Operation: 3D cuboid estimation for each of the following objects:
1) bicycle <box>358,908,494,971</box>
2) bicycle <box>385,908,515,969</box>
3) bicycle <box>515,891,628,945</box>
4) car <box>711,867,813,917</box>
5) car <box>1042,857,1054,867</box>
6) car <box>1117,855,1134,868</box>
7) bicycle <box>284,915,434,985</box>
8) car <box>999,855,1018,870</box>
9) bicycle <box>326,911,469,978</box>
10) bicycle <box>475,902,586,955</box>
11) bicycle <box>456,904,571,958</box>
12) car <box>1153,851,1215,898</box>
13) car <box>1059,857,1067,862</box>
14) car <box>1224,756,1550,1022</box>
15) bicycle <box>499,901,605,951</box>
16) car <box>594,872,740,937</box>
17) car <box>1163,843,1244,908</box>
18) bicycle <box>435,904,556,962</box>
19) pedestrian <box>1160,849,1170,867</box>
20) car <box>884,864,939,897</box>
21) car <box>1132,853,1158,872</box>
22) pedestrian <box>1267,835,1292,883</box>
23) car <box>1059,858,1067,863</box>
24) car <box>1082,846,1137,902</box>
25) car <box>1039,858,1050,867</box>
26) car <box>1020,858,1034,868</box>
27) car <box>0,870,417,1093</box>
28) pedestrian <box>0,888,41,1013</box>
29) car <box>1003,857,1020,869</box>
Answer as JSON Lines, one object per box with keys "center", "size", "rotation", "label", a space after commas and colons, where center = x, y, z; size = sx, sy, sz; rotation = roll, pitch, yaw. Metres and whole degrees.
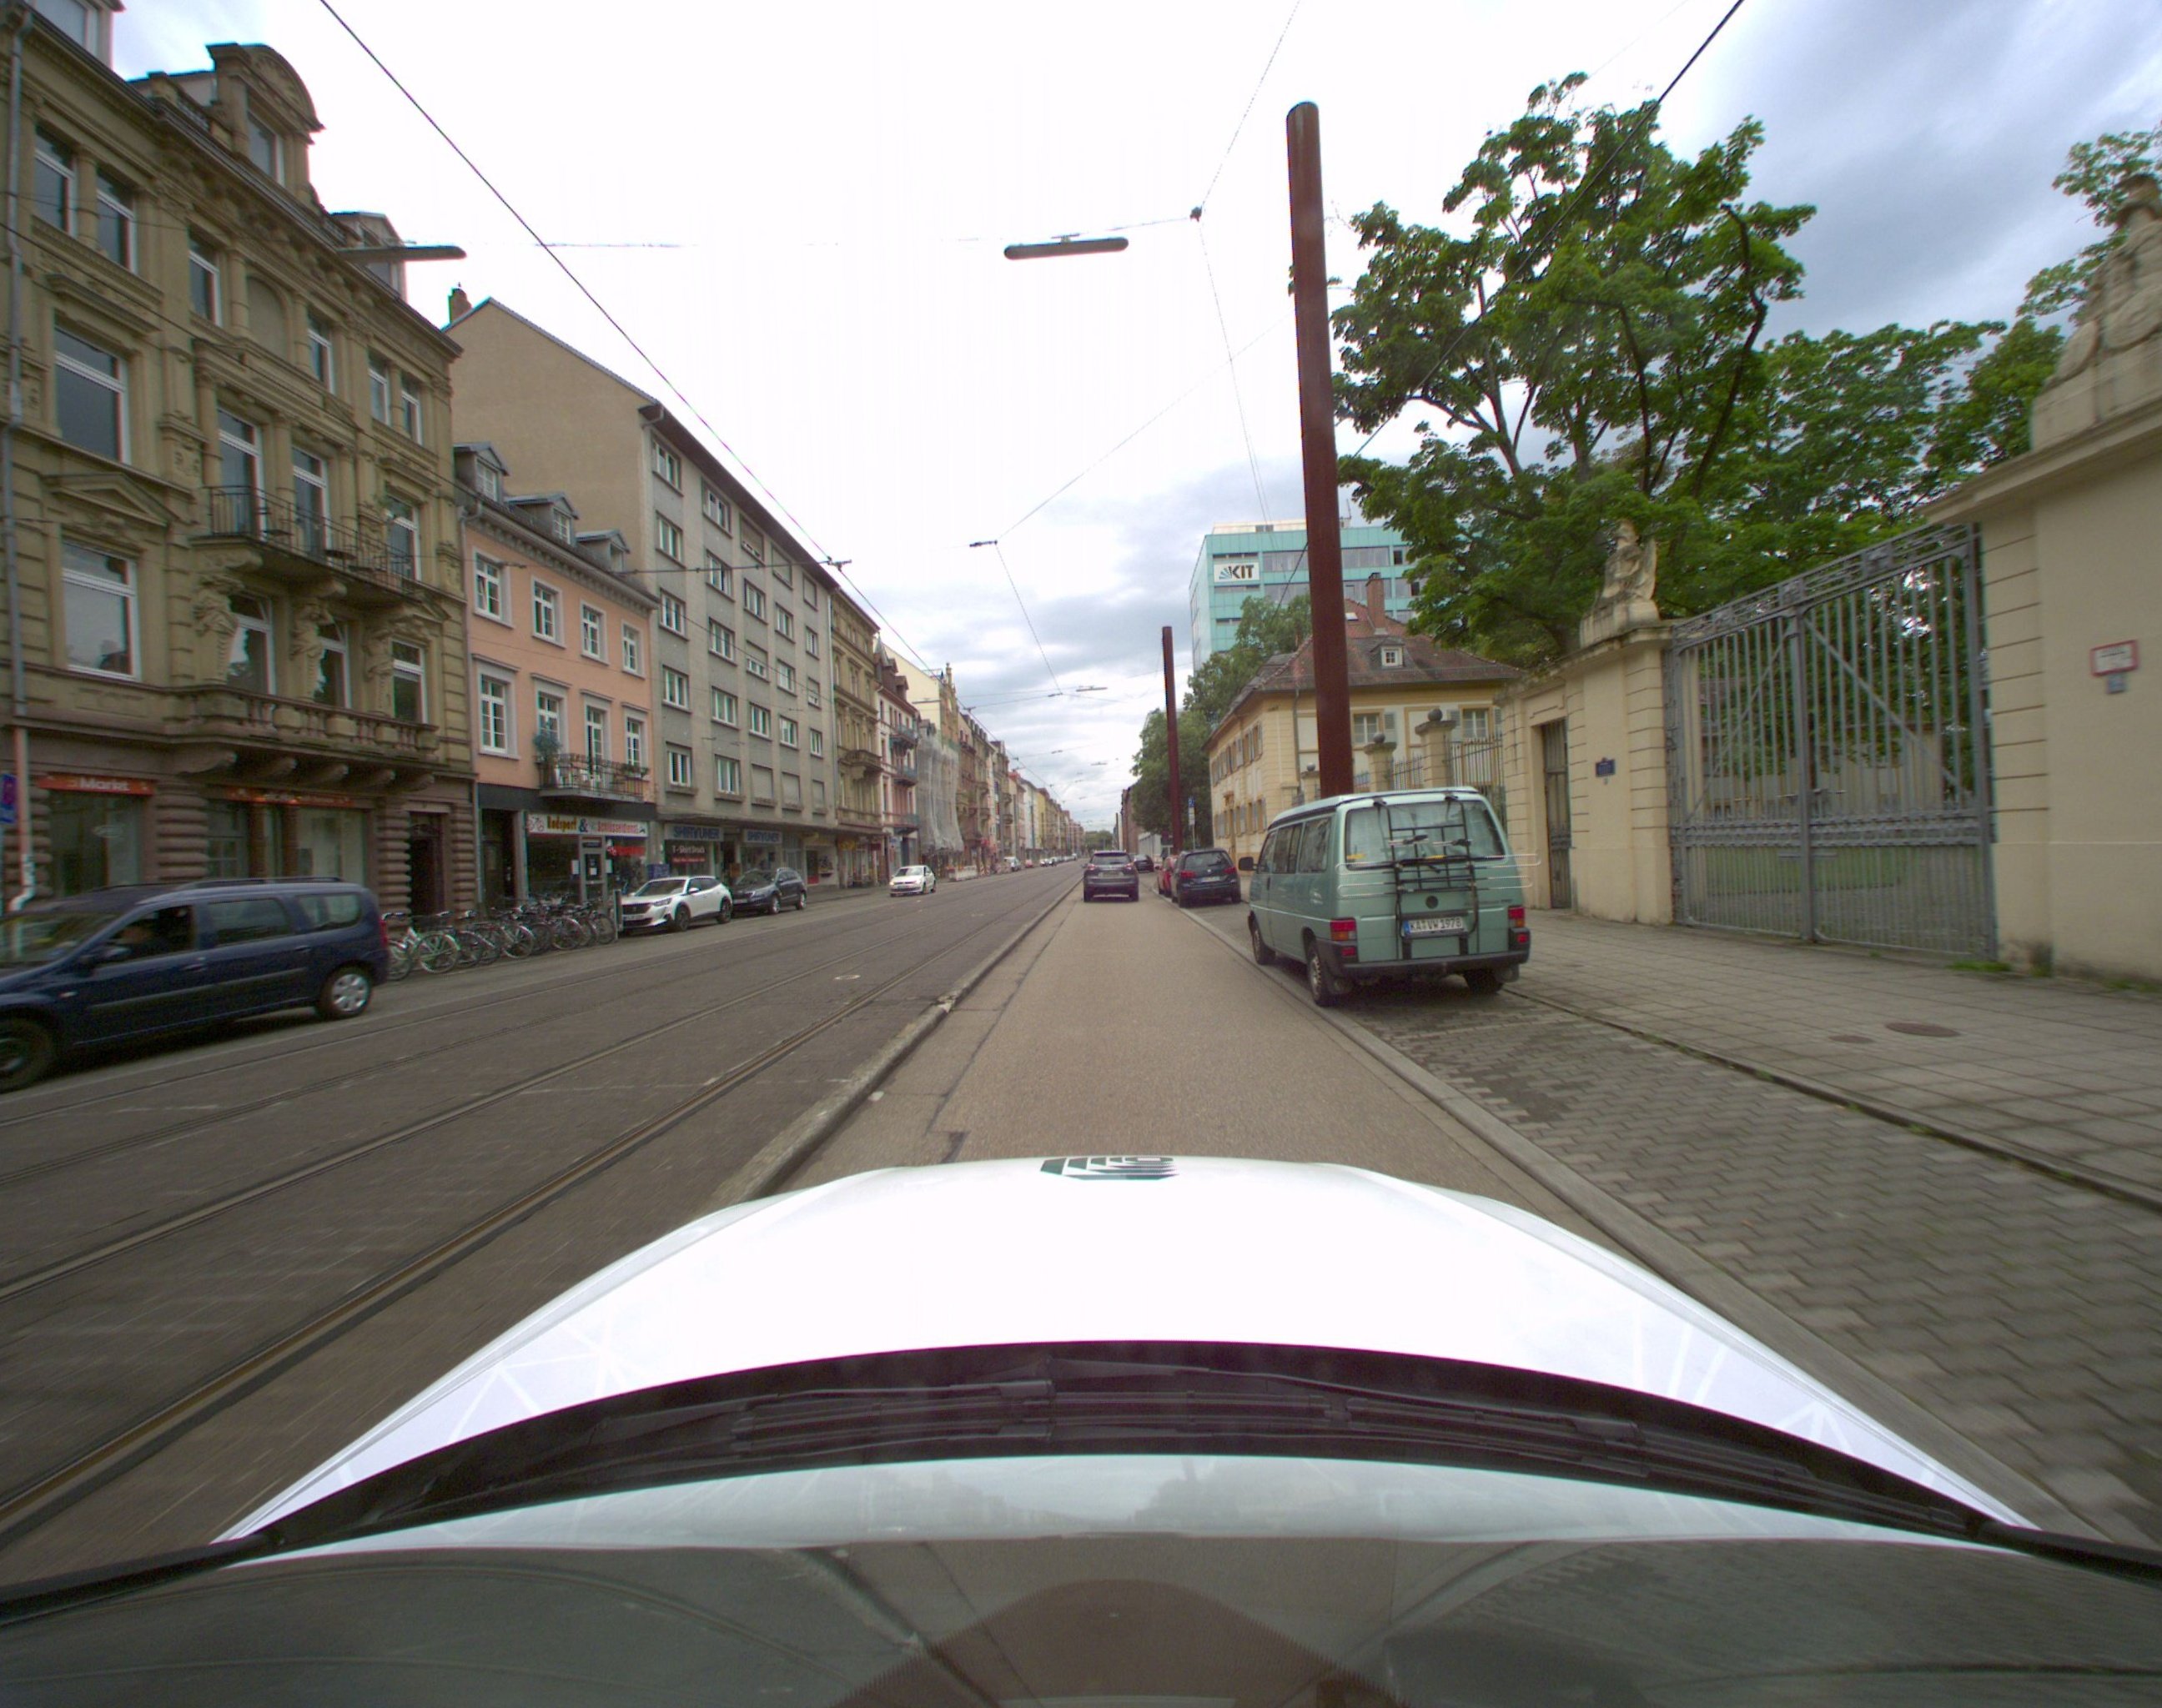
{"center": [-12.040, 1.567, 15.006], "size": [1.964, 1.001, 0.462], "rotation": [-3, 0, -7], "label": "bicycle"}
{"center": [-12.020, 1.603, 15.542], "size": [1.964, 1.001, 0.462], "rotation": [-3, 0, -7], "label": "bicycle"}
{"center": [-11.998, 1.501, 19.215], "size": [2.228, 1.126, 0.503], "rotation": [-3, 0, -7], "label": "bicycle"}
{"center": [-11.325, 1.302, 29.271], "size": [1.769, 1.504, 4.403], "rotation": [-3, 0, 1], "label": "car"}
{"center": [-5.602, 1.359, 139.146], "size": [1.988, 1.635, 3.997], "rotation": [-2, -1, -2], "label": "car"}
{"center": [4.956, 0.821, 91.083], "size": [1.769, 1.420, 4.136], "rotation": [-3, 0, 1], "label": "car"}
{"center": [-11.967, 1.582, 13.535], "size": [1.919, 1.001, 0.462], "rotation": [-3, 0, -7], "label": "bicycle"}
{"center": [-9.195, 1.104, 103.608], "size": [1.988, 1.706, 3.997], "rotation": [-2, -1, -2], "label": "car"}
{"center": [-11.983, 1.574, 14.307], "size": [1.964, 1.001, 0.462], "rotation": [-3, 0, -7], "label": "bicycle"}
{"center": [-11.969, 1.614, 17.738], "size": [1.964, 1.001, 0.462], "rotation": [-3, 0, -7], "label": "bicycle"}
{"center": [-11.952, 1.613, 17.174], "size": [1.964, 1.001, 0.462], "rotation": [-3, 0, -7], "label": "bicycle"}
{"center": [3.664, 0.700, 29.564], "size": [1.743, 1.441, 3.925], "rotation": [-5, 0, 1], "label": "car"}
{"center": [-4.997, 1.424, 227.863], "size": [1.988, 1.266, 3.997], "rotation": [-2, -1, -2], "label": "car"}
{"center": [3.059, 0.301, 9.470], "size": [1.845, 2.115, 4.986], "rotation": [-5, 0, 1], "label": "car"}
{"center": [-11.920, 1.614, 18.395], "size": [1.964, 1.001, 0.462], "rotation": [-3, 0, -7], "label": "bicycle"}
{"center": [-11.599, 1.351, 23.200], "size": [1.769, 1.504, 4.403], "rotation": [-3, 0, 1], "label": "car"}
{"center": [3.487, 0.583, 23.871], "size": [1.743, 1.596, 3.925], "rotation": [-5, 0, 1], "label": "car"}
{"center": [-11.821, 1.587, 16.473], "size": [1.964, 1.001, 0.462], "rotation": [-3, 0, -7], "label": "bicycle"}
{"center": [8.569, 0.411, 83.300], "size": [0.907, 1.886, 0.846], "rotation": [-2, -1, 1], "label": "pedestrian"}
{"center": [-8.278, 1.259, 40.066], "size": [1.681, 1.420, 4.136], "rotation": [-3, 0, 1], "label": "car"}
{"center": [5.074, 0.658, 65.262], "size": [1.769, 1.420, 4.136], "rotation": [-3, 0, 1], "label": "car"}
{"center": [7.222, 0.187, 29.699], "size": [0.639, 1.688, 0.891], "rotation": [-3, 0, 1], "label": "pedestrian"}
{"center": [-5.121, 1.801, 232.370], "size": [1.988, 1.266, 3.997], "rotation": [-2, -1, -2], "label": "car"}
{"center": [0.970, 0.645, 27.856], "size": [1.743, 1.756, 3.925], "rotation": [0, 0, 1], "label": "car"}
{"center": [-7.217, 1.644, 159.588], "size": [1.988, 1.635, 3.997], "rotation": [-2, -1, -2], "label": "car"}
{"center": [-8.524, 1.402, 129.218], "size": [1.988, 1.464, 3.997], "rotation": [-2, -1, -2], "label": "car"}
{"center": [-9.342, 1.081, 7.953], "size": [1.752, 1.671, 4.616], "rotation": [-3, 0, 2], "label": "car"}
{"center": [-14.223, 1.261, 10.527], "size": [0.566, 1.598, 0.718], "rotation": [-3, 0, 1], "label": "pedestrian"}
{"center": [-9.324, 1.238, 109.853], "size": [1.988, 1.464, 3.997], "rotation": [-2, -1, -2], "label": "car"}
